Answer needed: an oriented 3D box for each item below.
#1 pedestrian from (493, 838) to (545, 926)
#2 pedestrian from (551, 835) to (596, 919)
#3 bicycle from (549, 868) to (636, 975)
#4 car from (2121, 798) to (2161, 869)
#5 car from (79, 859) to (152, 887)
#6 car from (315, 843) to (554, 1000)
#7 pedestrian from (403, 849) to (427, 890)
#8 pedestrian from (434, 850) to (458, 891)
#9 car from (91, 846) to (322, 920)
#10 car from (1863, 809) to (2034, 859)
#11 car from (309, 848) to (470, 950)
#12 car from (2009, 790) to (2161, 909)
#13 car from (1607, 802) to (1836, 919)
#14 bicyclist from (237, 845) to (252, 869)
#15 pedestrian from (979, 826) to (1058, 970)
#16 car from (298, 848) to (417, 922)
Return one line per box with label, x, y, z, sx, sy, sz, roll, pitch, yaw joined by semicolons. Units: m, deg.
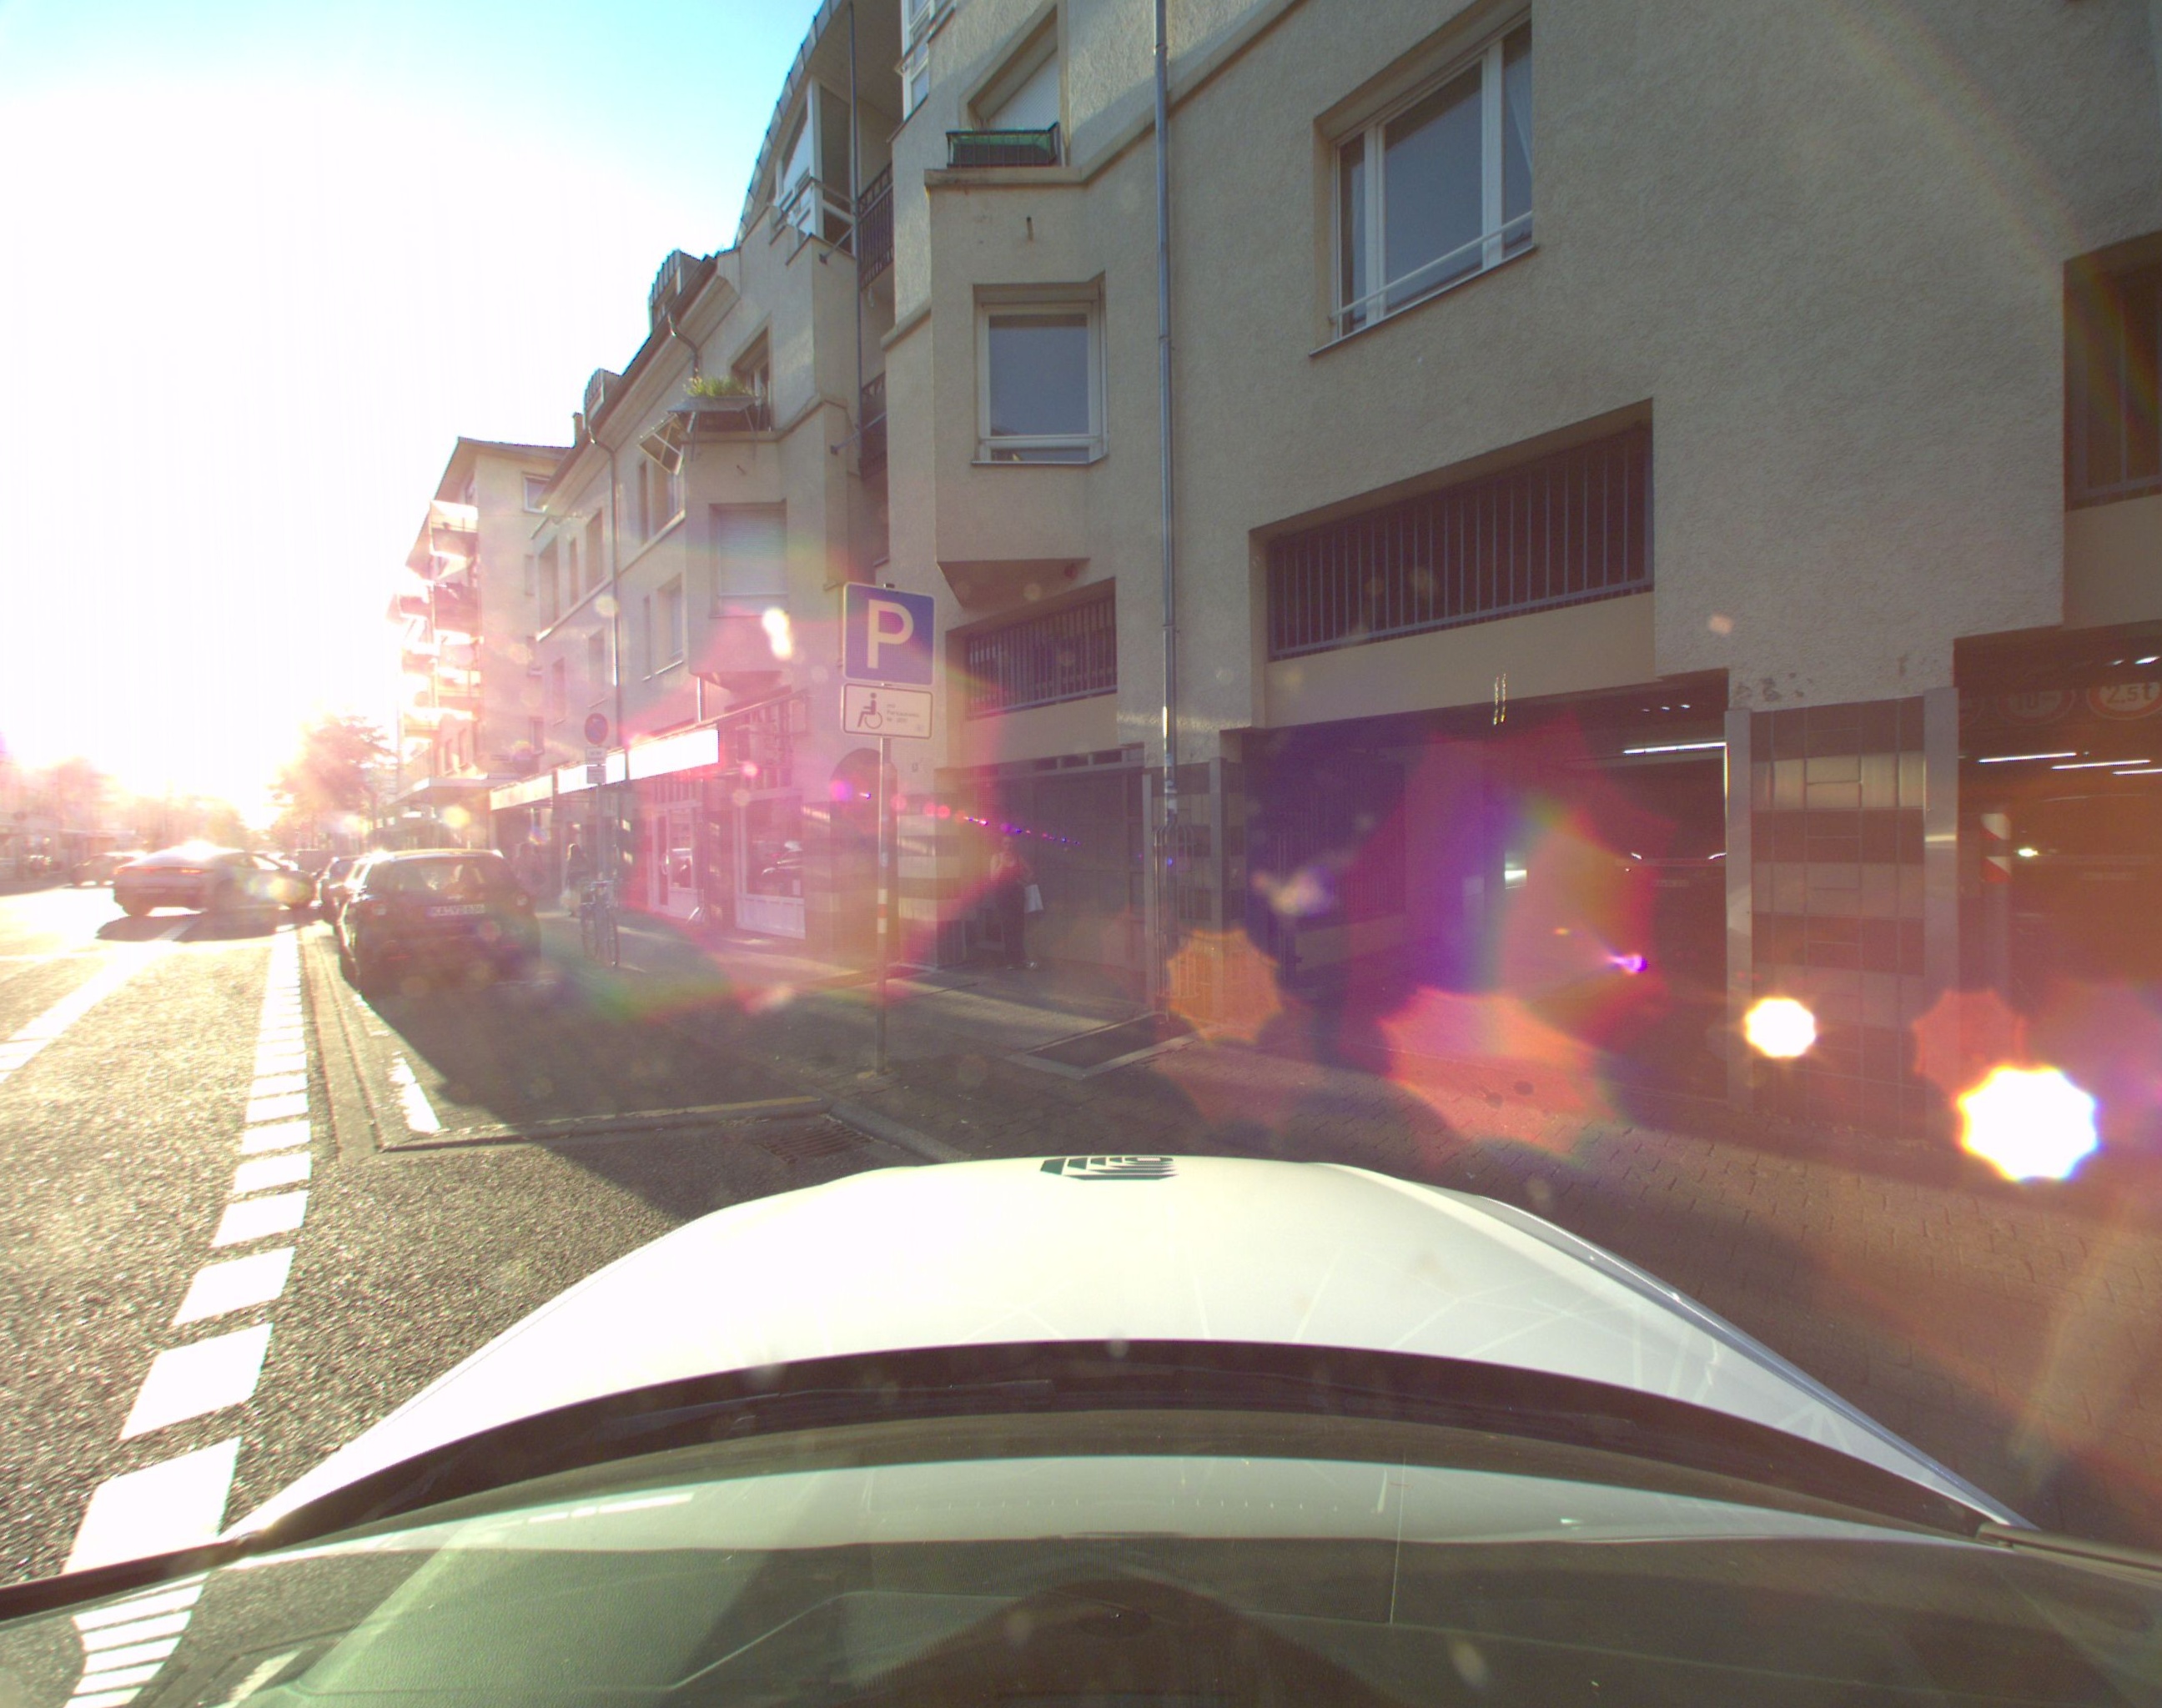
pedestrian;-11.374;0.540;16.481;1.027;1.700;0.636;0;2;45
pedestrian;-10.583;0.468;16.985;0.821;1.700;0.564;0;2;45
bicycle;-6.306;0.806;10.459;0.563;1.206;1.954;-2;1;-42
car;26.456;-0.533;19.310;1.541;1.617;3.905;-1;2;42
car;-51.601;0.966;43.525;3.613;1.412;1.645;0;0;26
car;-8.319;0.679;10.356;3.917;1.580;1.806;0;1;43
pedestrian;-30.007;0.690;36.700;0.724;1.791;0.658;-3;2;-44
pedestrian;-28.558;0.719;36.617;0.724;1.791;0.658;-3;2;-44
car;-21.997;0.659;20.786;1.875;1.697;4.302;0;0;-13
car;26.743;-0.632;25.307;1.594;1.391;3.891;-2;2;9
car;-12.703;0.705;14.893;3.739;1.580;1.806;0;1;43
car;16.202;-0.127;12.875;4.322;1.624;1.869;-2;2;-39
car;10.370;0.020;13.086;4.270;1.572;1.799;-3;1;-36
bicyclist;-55.428;0.171;53.964;0.552;1.580;0.793;-2;1;-42
pedestrian;-0.718;0.471;9.306;0.778;1.572;0.531;-1;1;-18
car;-17.522;0.660;19.671;3.739;1.580;1.806;0;1;43
